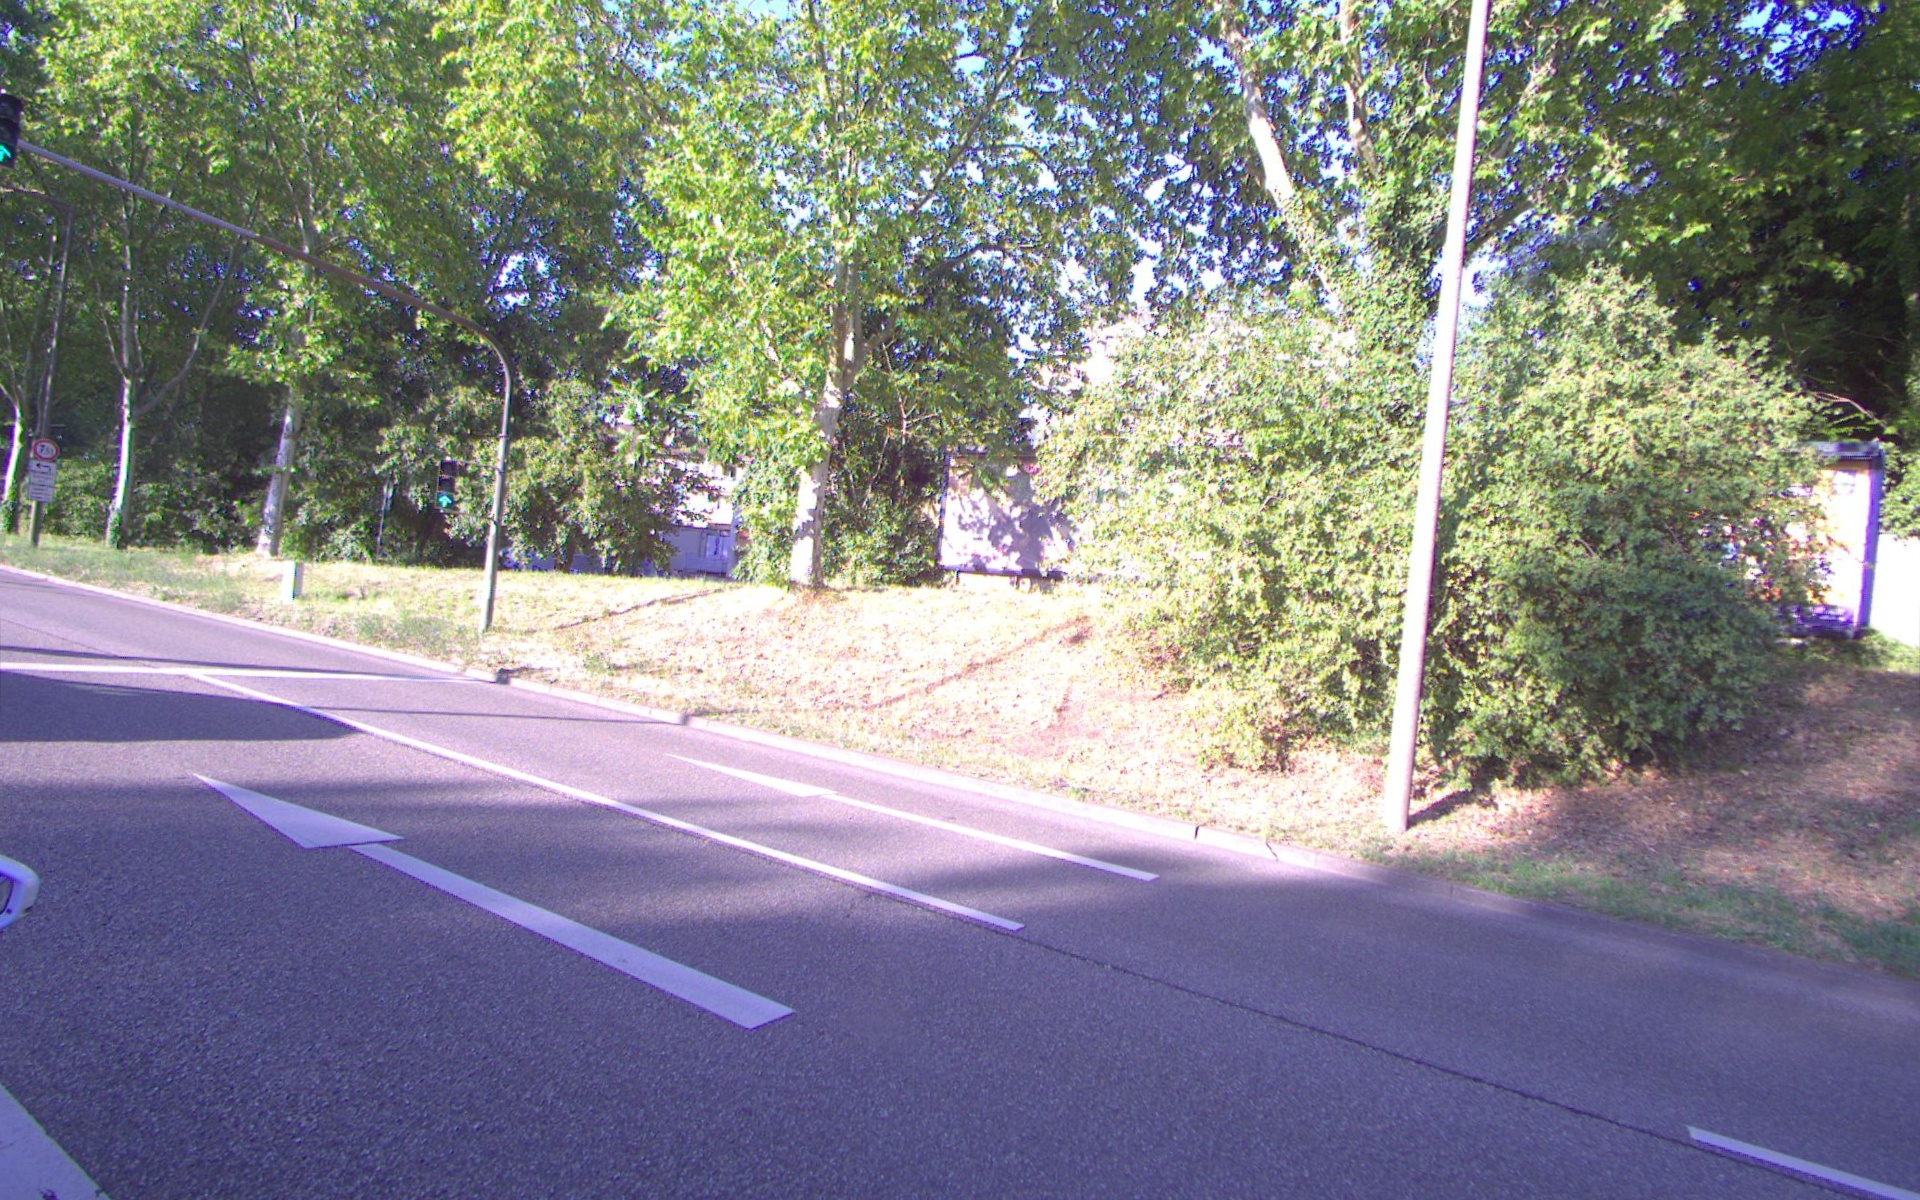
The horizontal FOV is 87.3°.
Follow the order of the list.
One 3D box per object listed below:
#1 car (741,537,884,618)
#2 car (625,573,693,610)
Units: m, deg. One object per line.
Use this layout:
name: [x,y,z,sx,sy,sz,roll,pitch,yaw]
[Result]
car: [-5.718,-0.899,38.485,5.543,2.542,1.801,6,-2,37]
car: [-18.142,-0.502,60.820,1.882,1.725,4.005,7,-2,16]
